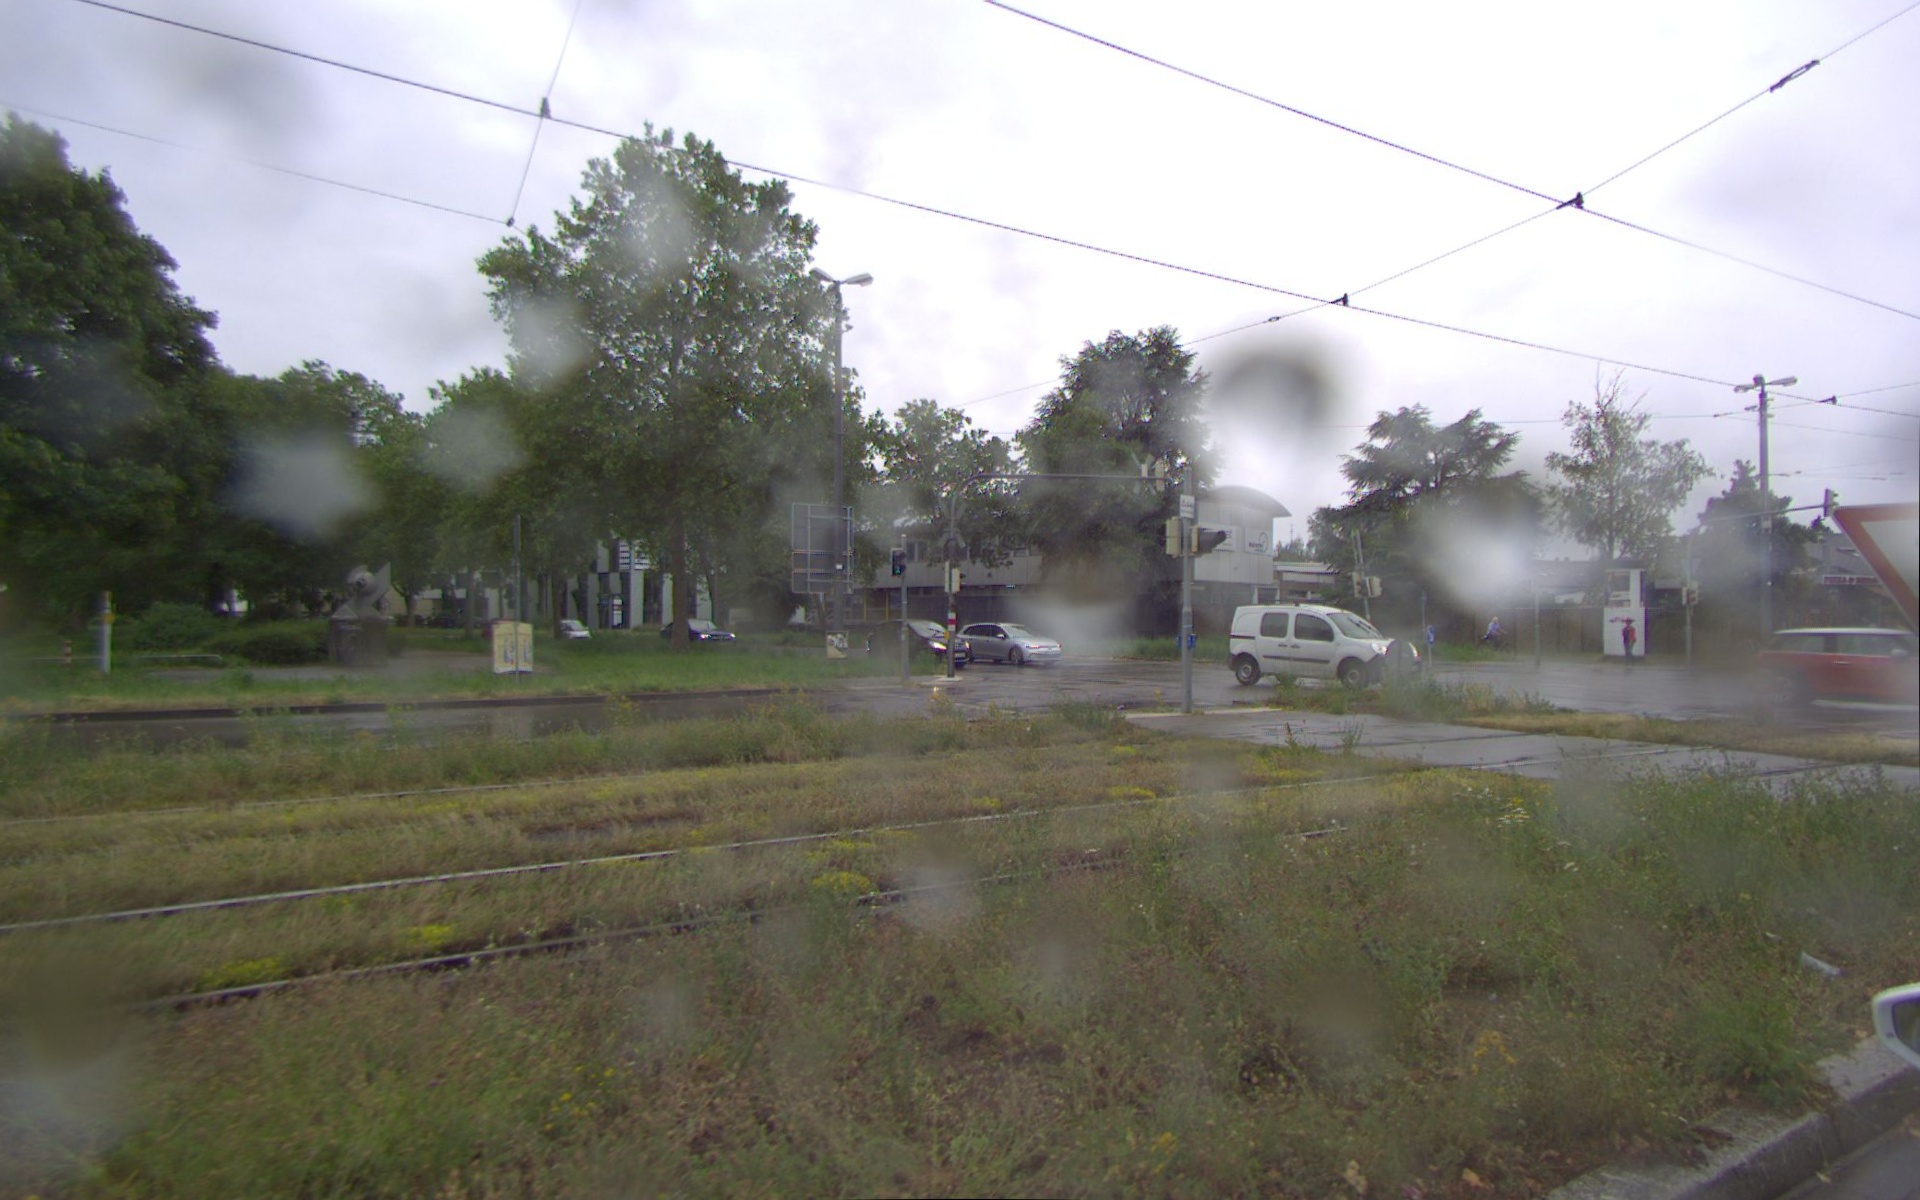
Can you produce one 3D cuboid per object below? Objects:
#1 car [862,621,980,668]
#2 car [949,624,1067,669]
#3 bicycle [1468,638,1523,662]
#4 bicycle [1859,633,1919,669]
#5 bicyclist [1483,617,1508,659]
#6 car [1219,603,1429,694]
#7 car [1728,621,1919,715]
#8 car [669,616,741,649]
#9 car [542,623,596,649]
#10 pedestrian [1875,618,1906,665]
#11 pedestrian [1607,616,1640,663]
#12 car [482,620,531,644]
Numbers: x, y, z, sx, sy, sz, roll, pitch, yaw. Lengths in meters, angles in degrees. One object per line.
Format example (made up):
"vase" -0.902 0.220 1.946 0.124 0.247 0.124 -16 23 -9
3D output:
"car" -1.371 1.480 33.999 1.640 1.475 4.317 2 -2 -42
"car" 1.632 1.605 35.524 1.640 1.475 4.317 2 -2 -42
"bicycle" 22.090 2.050 41.503 0.635 0.979 1.946 2 -2 -34
"bicycle" 29.920 1.627 32.220 0.493 1.116 1.558 1 -2 -23
"bicyclist" 22.109 1.565 41.476 0.635 1.705 0.680 2 -2 -34
"car" 7.926 0.999 22.217 1.637 1.820 4.178 0 -1 -37
"car" 16.185 1.156 17.739 1.637 1.519 3.879 0 -1 -37
"car" -11.720 1.486 46.011 1.640 1.413 3.783 2 -2 -42
"car" -22.299 2.035 57.184 1.640 1.413 3.783 2 -2 -42
"pedestrian" 29.899 1.331 32.276 0.493 1.494 0.574 1 -2 -23
"pedestrian" 25.650 1.530 38.846 0.787 1.787 0.909 0 -1 15
"car" -27.840 1.950 61.633 1.640 1.413 3.783 2 -2 -42
